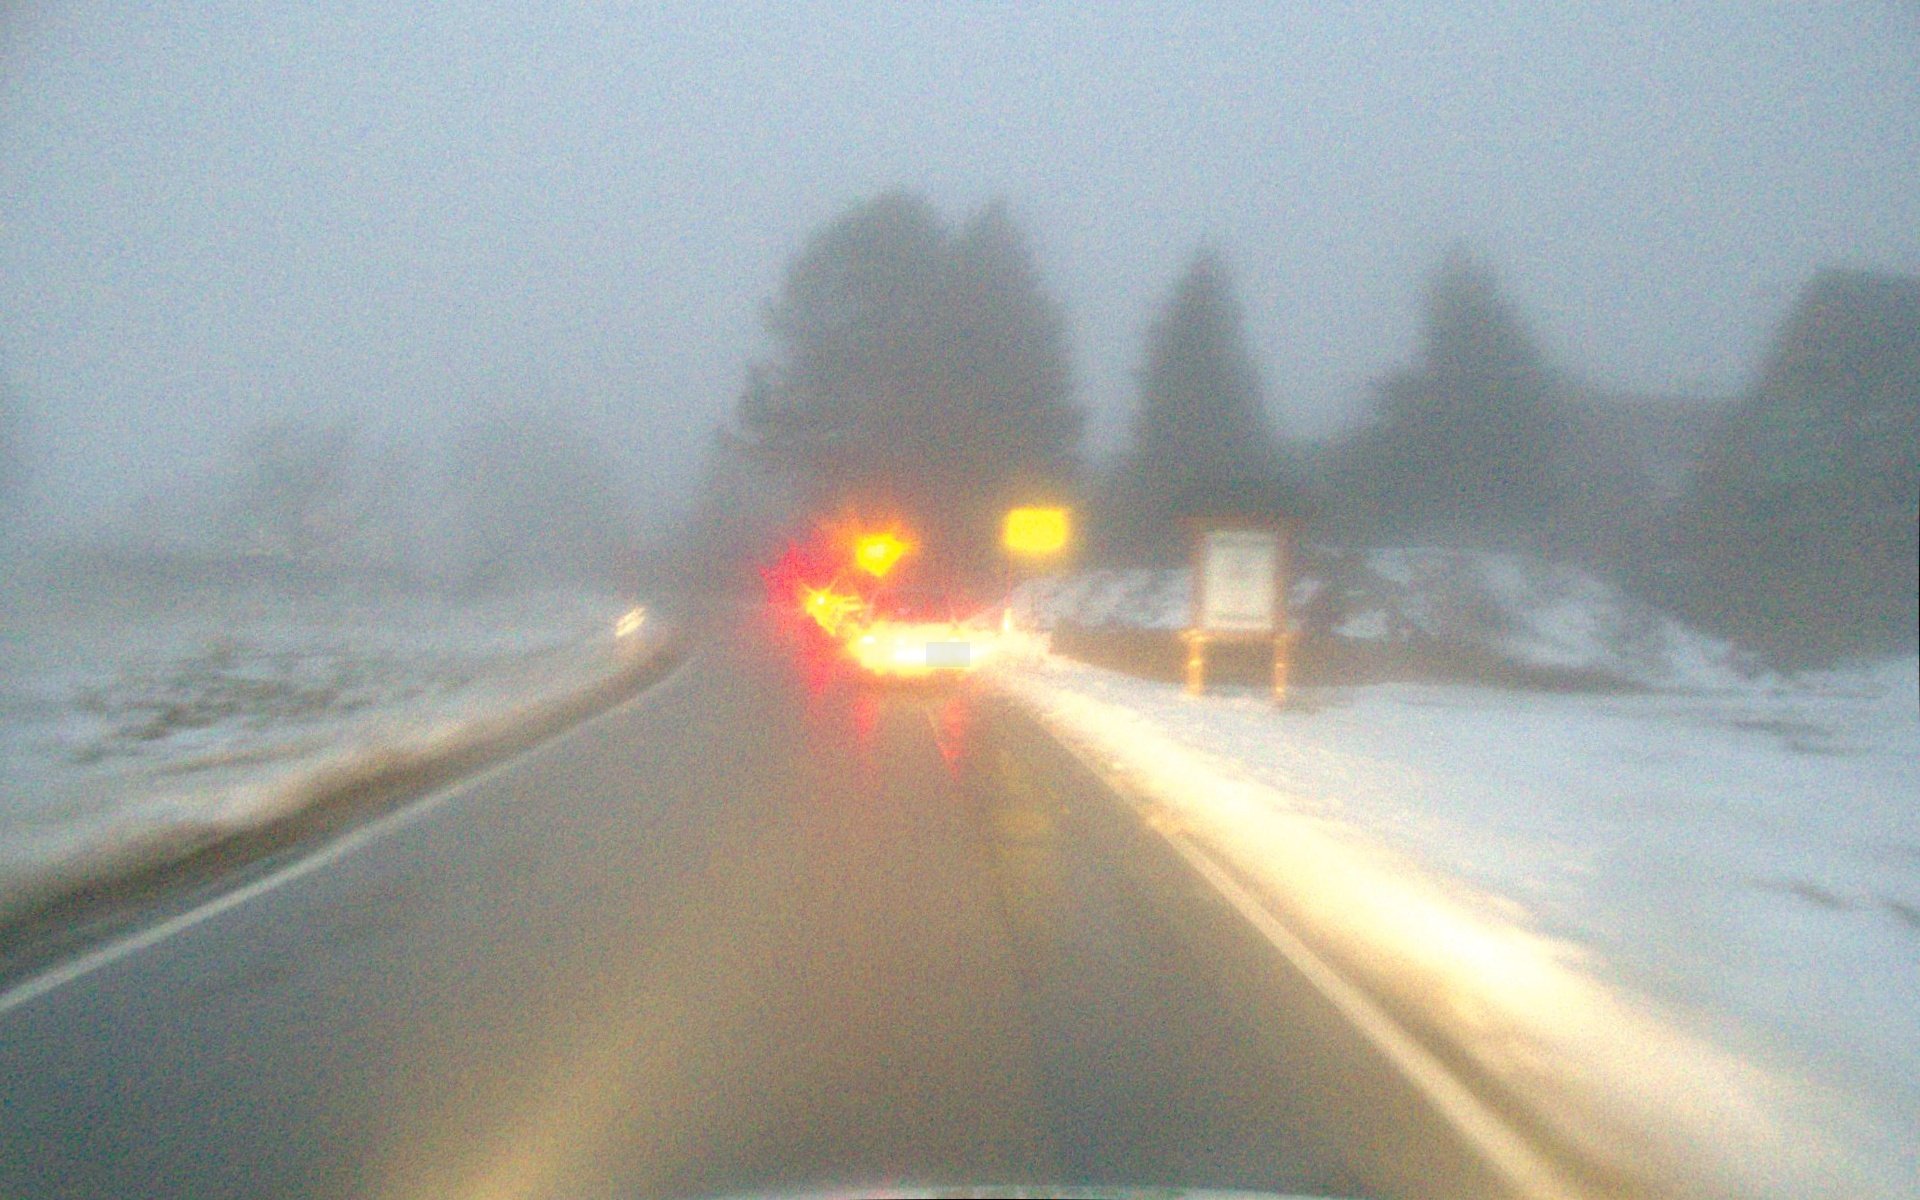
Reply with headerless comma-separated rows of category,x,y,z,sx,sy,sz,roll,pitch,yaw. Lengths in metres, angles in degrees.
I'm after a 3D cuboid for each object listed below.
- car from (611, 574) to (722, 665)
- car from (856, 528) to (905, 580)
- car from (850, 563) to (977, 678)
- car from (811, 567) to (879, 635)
car,-5.228,0.340,29.784,1.491,1.534,3.052,0,0,-1
car,-2.499,-1.444,52.579,1.448,1.534,3.052,0,0,-1
car,-0.788,0.338,25.447,1.674,1.488,3.996,5,-2,-4
car,-2.692,0.013,39.240,1.448,1.534,3.052,0,0,-1
